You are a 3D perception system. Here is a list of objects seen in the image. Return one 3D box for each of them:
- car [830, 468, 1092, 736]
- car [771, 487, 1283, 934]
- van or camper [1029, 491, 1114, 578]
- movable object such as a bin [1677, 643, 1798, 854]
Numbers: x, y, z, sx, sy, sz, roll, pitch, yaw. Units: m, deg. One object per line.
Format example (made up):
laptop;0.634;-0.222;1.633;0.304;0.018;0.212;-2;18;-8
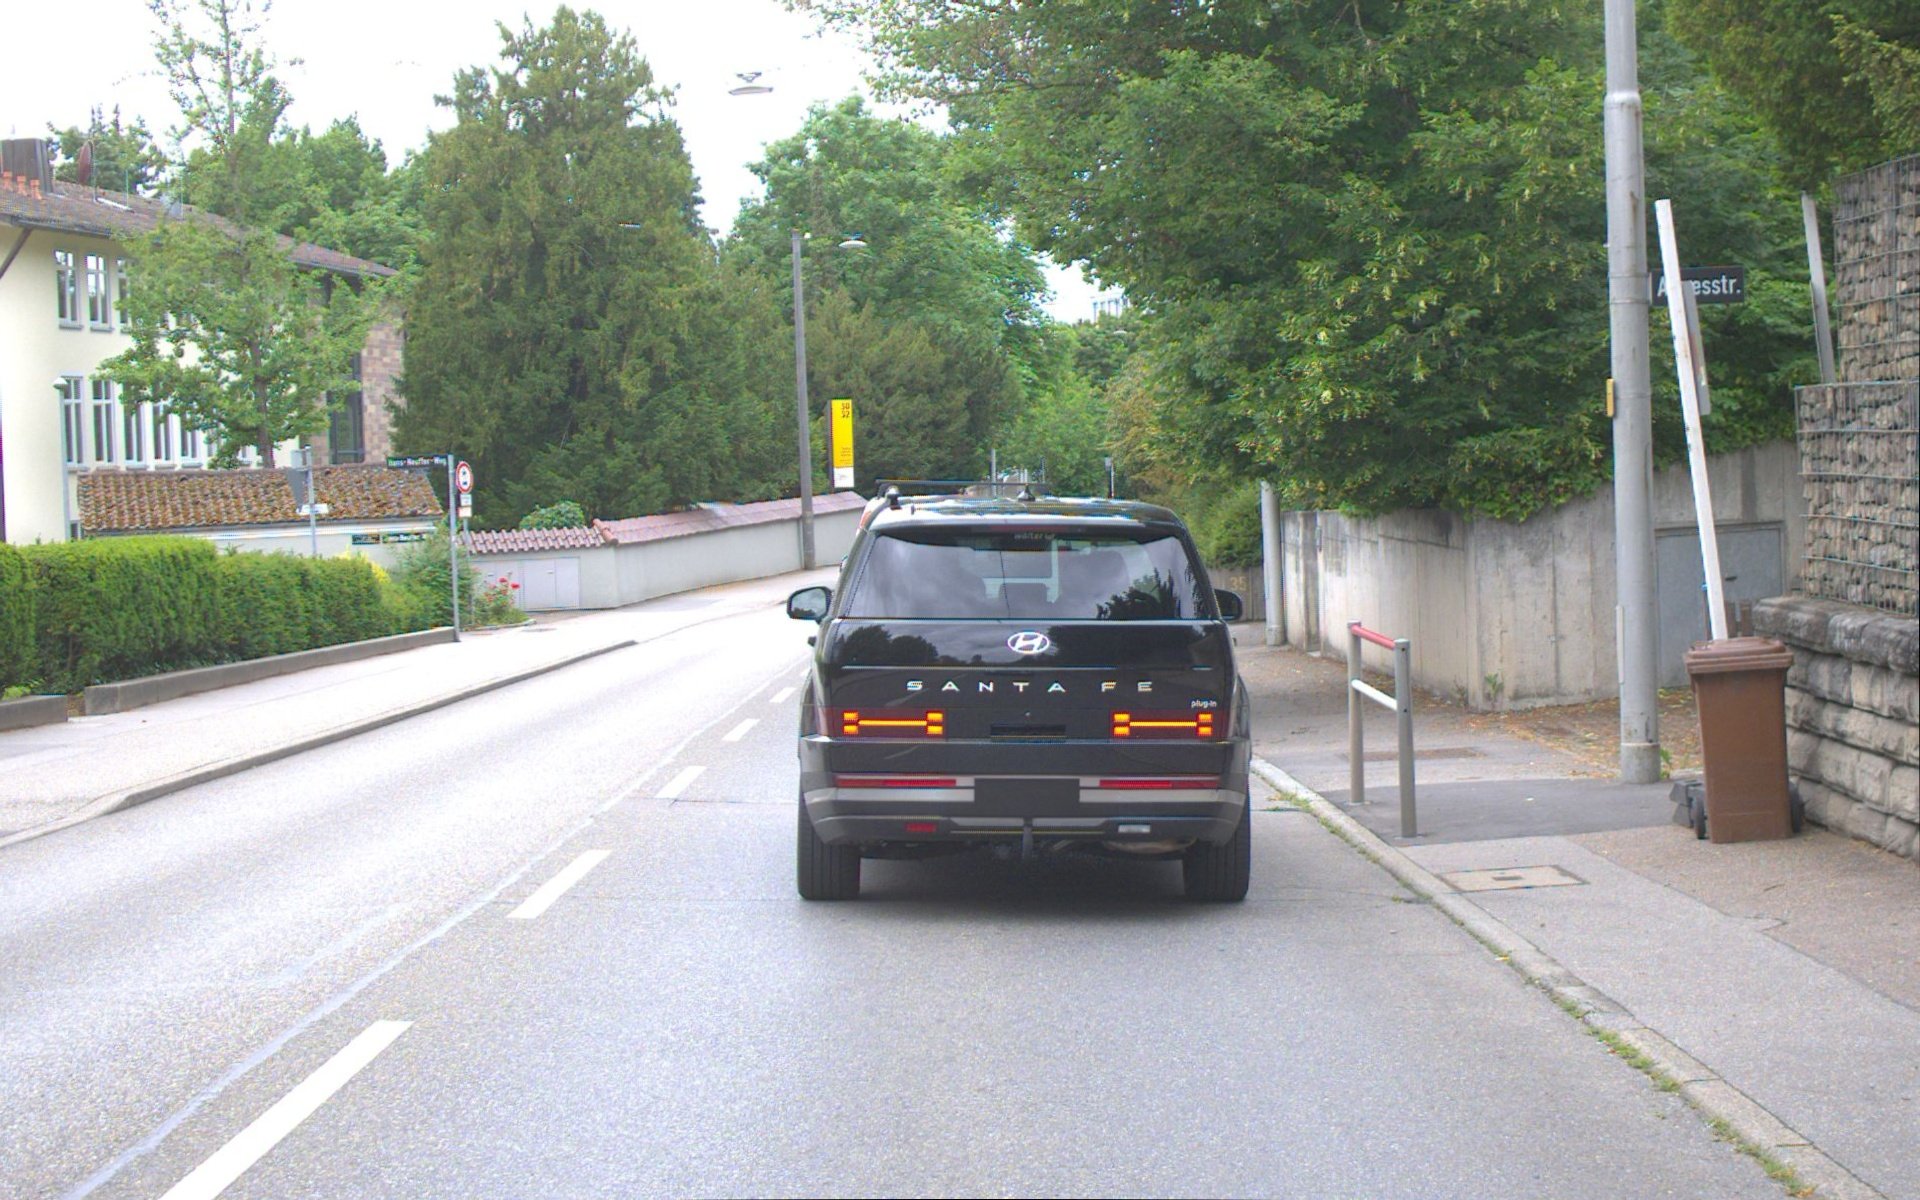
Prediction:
car;-0.044;-0.064;28.206;1.957;1.949;4.224;1;3;-1
car;0.273;0.376;15.487;1.957;1.707;4.223;1;1;0
van or camper;2.854;-1.683;87.224;1.676;2.000;3.937;-2;3;8
movable object such as a bin;3.539;0.671;15.667;0.445;0.907;0.394;-5;0;10
